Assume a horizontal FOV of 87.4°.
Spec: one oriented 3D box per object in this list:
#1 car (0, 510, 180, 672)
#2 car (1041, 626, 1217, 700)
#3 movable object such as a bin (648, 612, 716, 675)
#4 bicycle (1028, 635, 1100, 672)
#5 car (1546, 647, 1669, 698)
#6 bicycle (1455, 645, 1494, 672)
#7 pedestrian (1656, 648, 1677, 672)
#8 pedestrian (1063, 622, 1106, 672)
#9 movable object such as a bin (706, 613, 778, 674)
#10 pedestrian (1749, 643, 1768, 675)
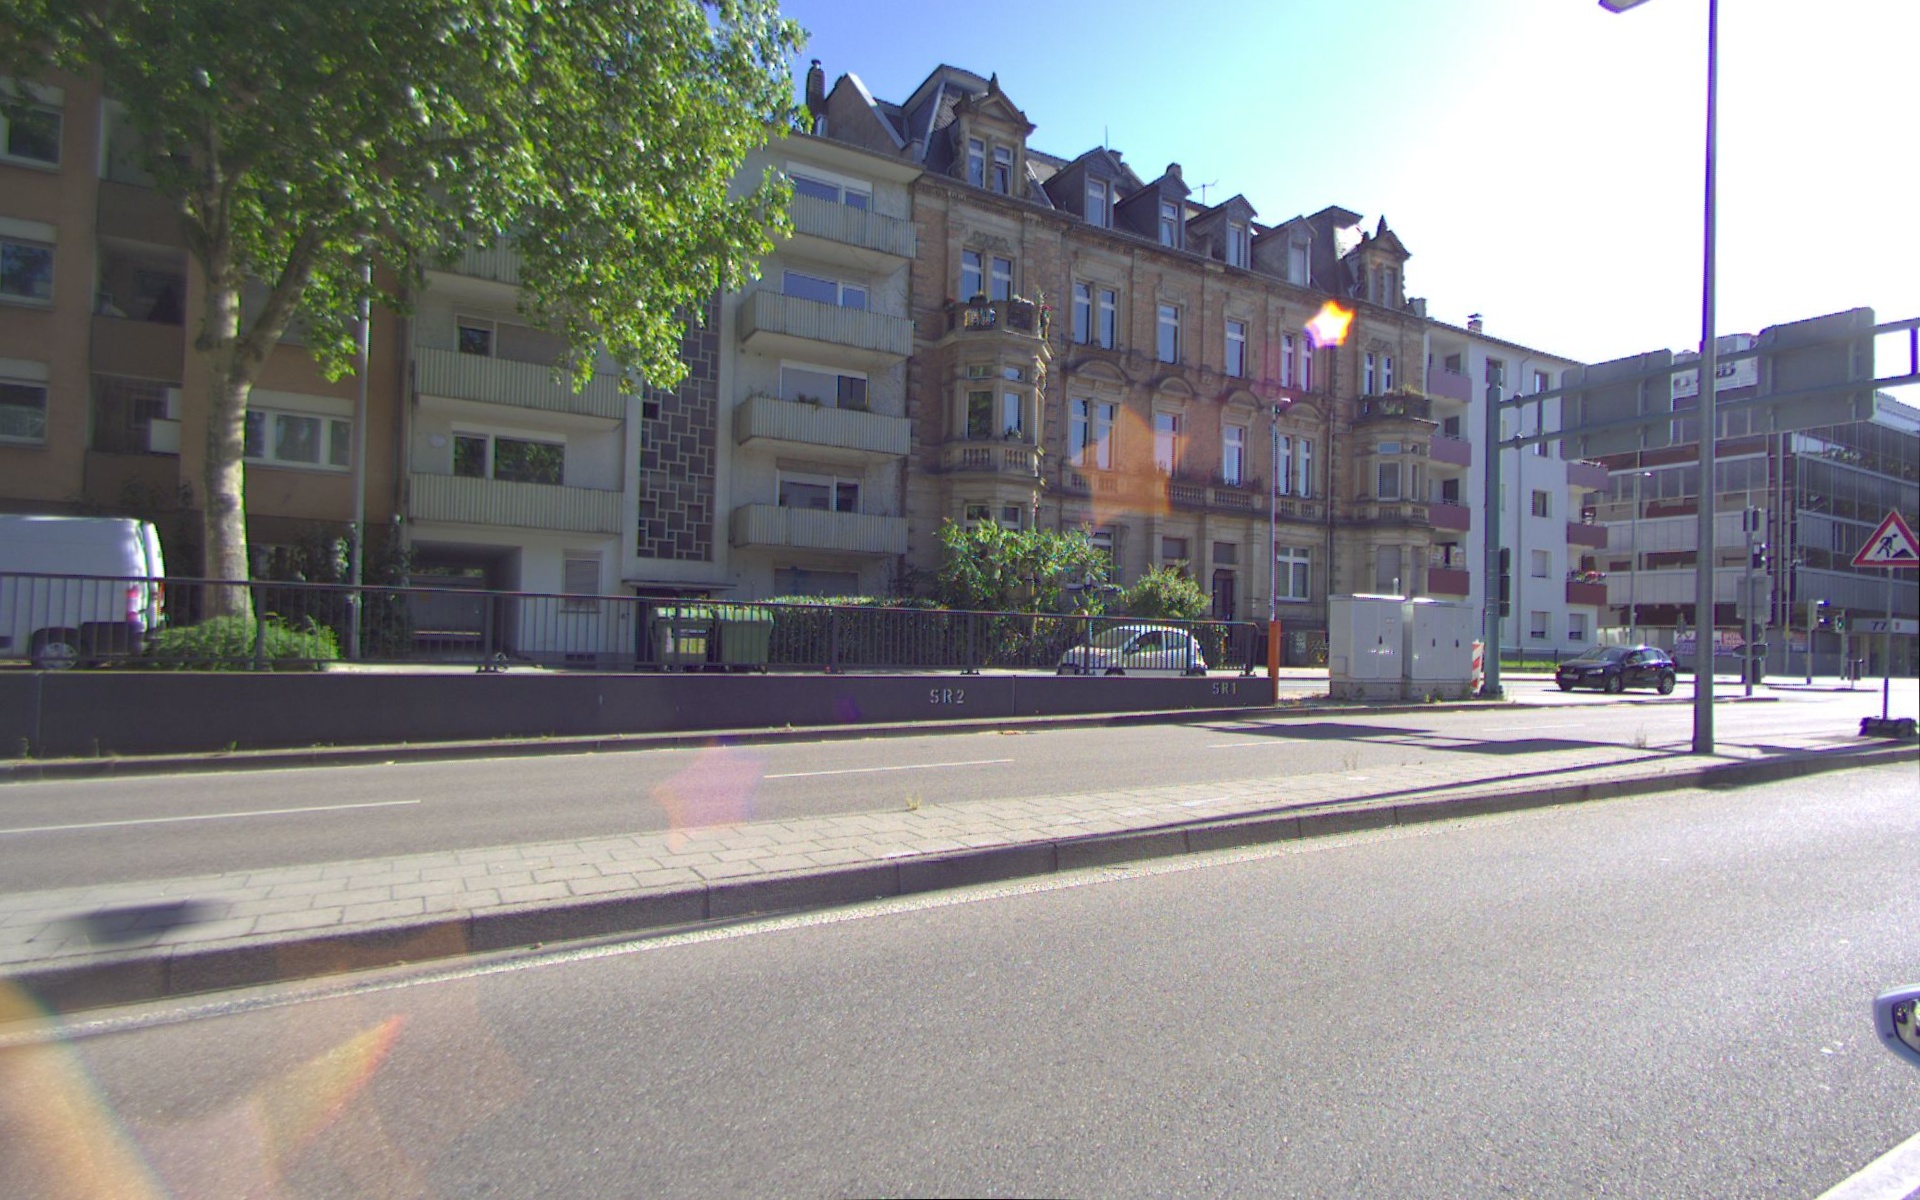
[{"bbox_3d":[-15.910,-0.092,15.929,5.222,2.478,2.236,1,-3,-29],"label":"car"},{"bbox_3d":[3.730,1.325,22.019,3.646,1.506,1.620,1,-1,-30],"label":"car"},{"bbox_3d":[-6.286,0.977,22.712,1.299,1.380,0.889,1,-3,-30],"label":"movable object such as a bin"},{"bbox_3d":[2.984,1.533,28.671,2.224,1.018,0.464,2,0,-31],"label":"bicycle"},{"bbox_3d":[19.858,2.184,30.803,3.644,1.456,1.621,2,-3,-29],"label":"car"},{"bbox_3d":[19.687,2.241,38.439,1.916,0.971,0.303,2,-2,-29],"label":"bicycle"},{"bbox_3d":[36.299,3.079,51.586,0.783,1.168,0.711,3,-2,-41],"label":"pedestrian"},{"bbox_3d":[3.485,1.314,28.155,1.078,1.396,0.563,2,-1,-31],"label":"pedestrian"},{"bbox_3d":[-5.063,1.011,23.342,1.455,1.378,0.889,1,-3,-28],"label":"movable object such as a bin"},{"bbox_3d":[41.893,3.082,52.687,0.688,1.679,0.745,0,-2,31],"label":"pedestrian"}]
